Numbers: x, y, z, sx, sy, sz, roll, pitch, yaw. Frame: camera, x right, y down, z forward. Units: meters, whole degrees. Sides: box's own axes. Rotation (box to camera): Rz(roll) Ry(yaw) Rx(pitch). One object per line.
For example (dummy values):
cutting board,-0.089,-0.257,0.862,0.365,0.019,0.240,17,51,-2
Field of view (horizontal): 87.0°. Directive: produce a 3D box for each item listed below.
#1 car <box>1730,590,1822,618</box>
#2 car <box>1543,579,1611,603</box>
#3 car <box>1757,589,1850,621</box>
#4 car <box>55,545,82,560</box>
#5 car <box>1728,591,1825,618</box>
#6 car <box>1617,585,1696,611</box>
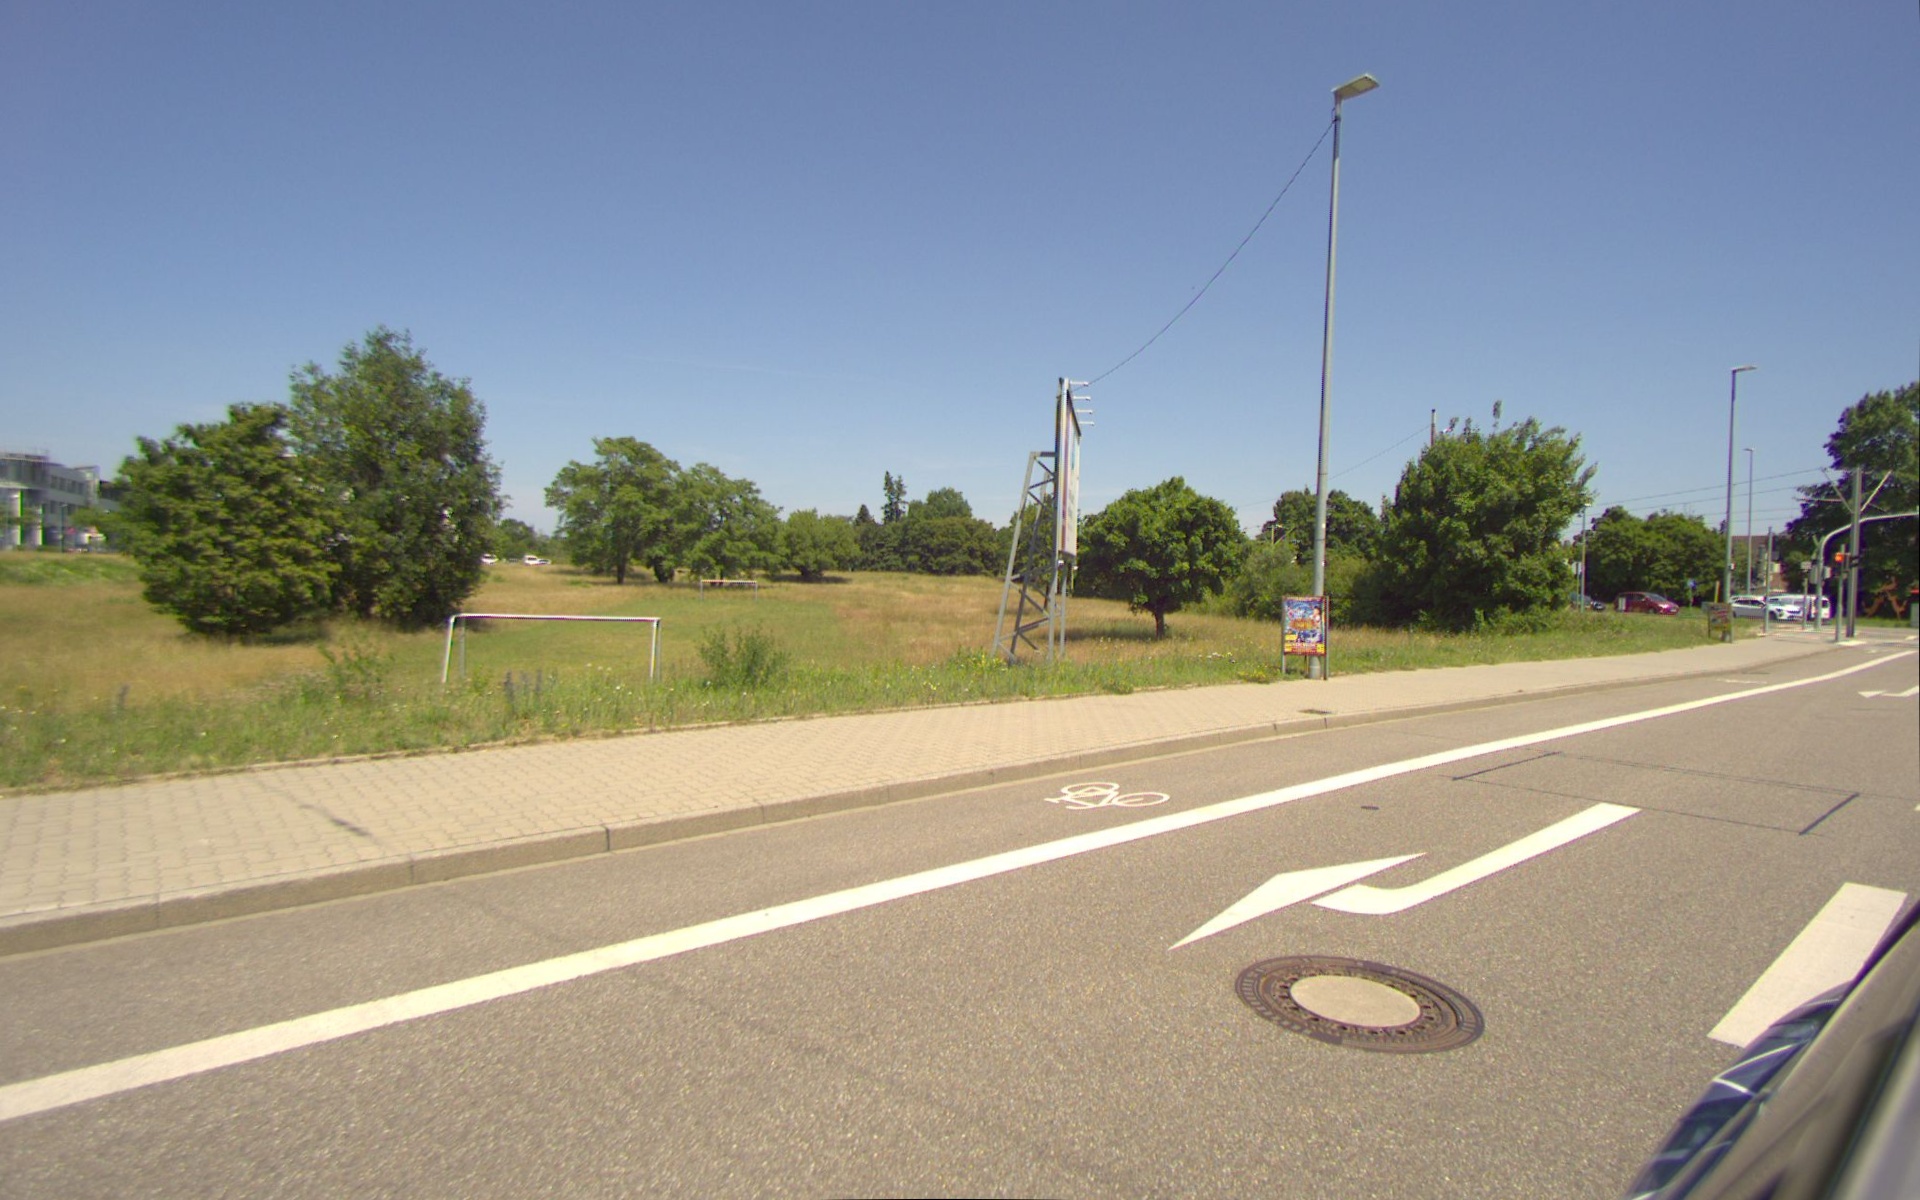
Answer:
car,52.236,0.210,64.922,1.836,1.595,4.420,2,1,-10
car,46.764,-0.704,76.801,1.836,1.595,4.420,2,1,-10
car,55.121,0.291,66.255,1.857,1.815,4.402,4,1,-11
car,-110.127,-5.883,125.049,1.671,1.552,3.632,3,-1,-29
car,49.597,0.244,61.619,1.836,1.406,4.420,2,1,-10
car,47.861,-0.163,69.662,1.836,1.595,4.420,2,1,-10
